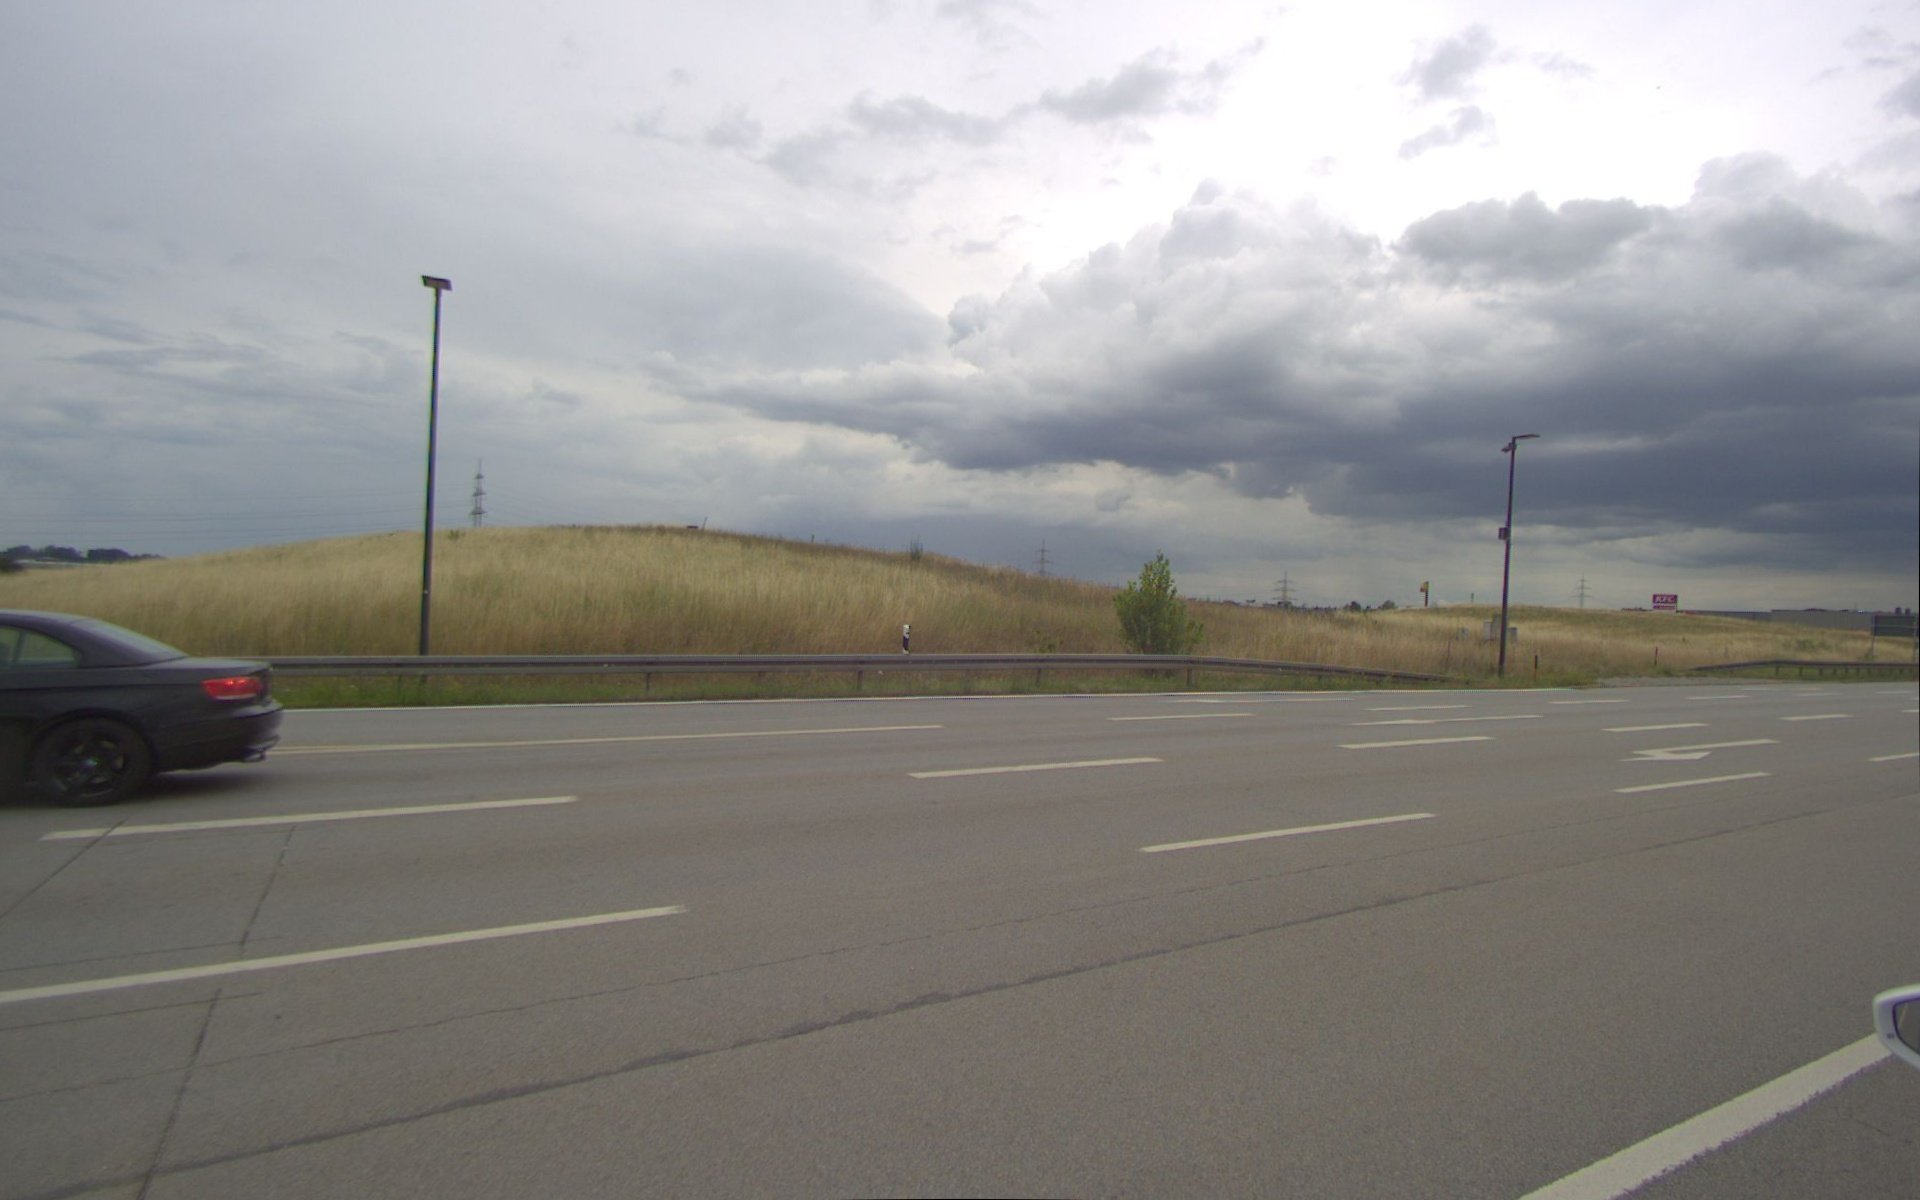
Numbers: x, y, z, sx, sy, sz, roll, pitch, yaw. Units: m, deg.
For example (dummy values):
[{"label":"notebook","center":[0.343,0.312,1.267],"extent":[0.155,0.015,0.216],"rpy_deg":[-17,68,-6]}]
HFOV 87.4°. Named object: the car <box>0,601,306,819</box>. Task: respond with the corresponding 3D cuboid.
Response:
[{"label":"car","center":[-7.445,0.719,7.095],"extent":[4.622,1.429,1.698],"rpy_deg":[3,-1,-32]}]
